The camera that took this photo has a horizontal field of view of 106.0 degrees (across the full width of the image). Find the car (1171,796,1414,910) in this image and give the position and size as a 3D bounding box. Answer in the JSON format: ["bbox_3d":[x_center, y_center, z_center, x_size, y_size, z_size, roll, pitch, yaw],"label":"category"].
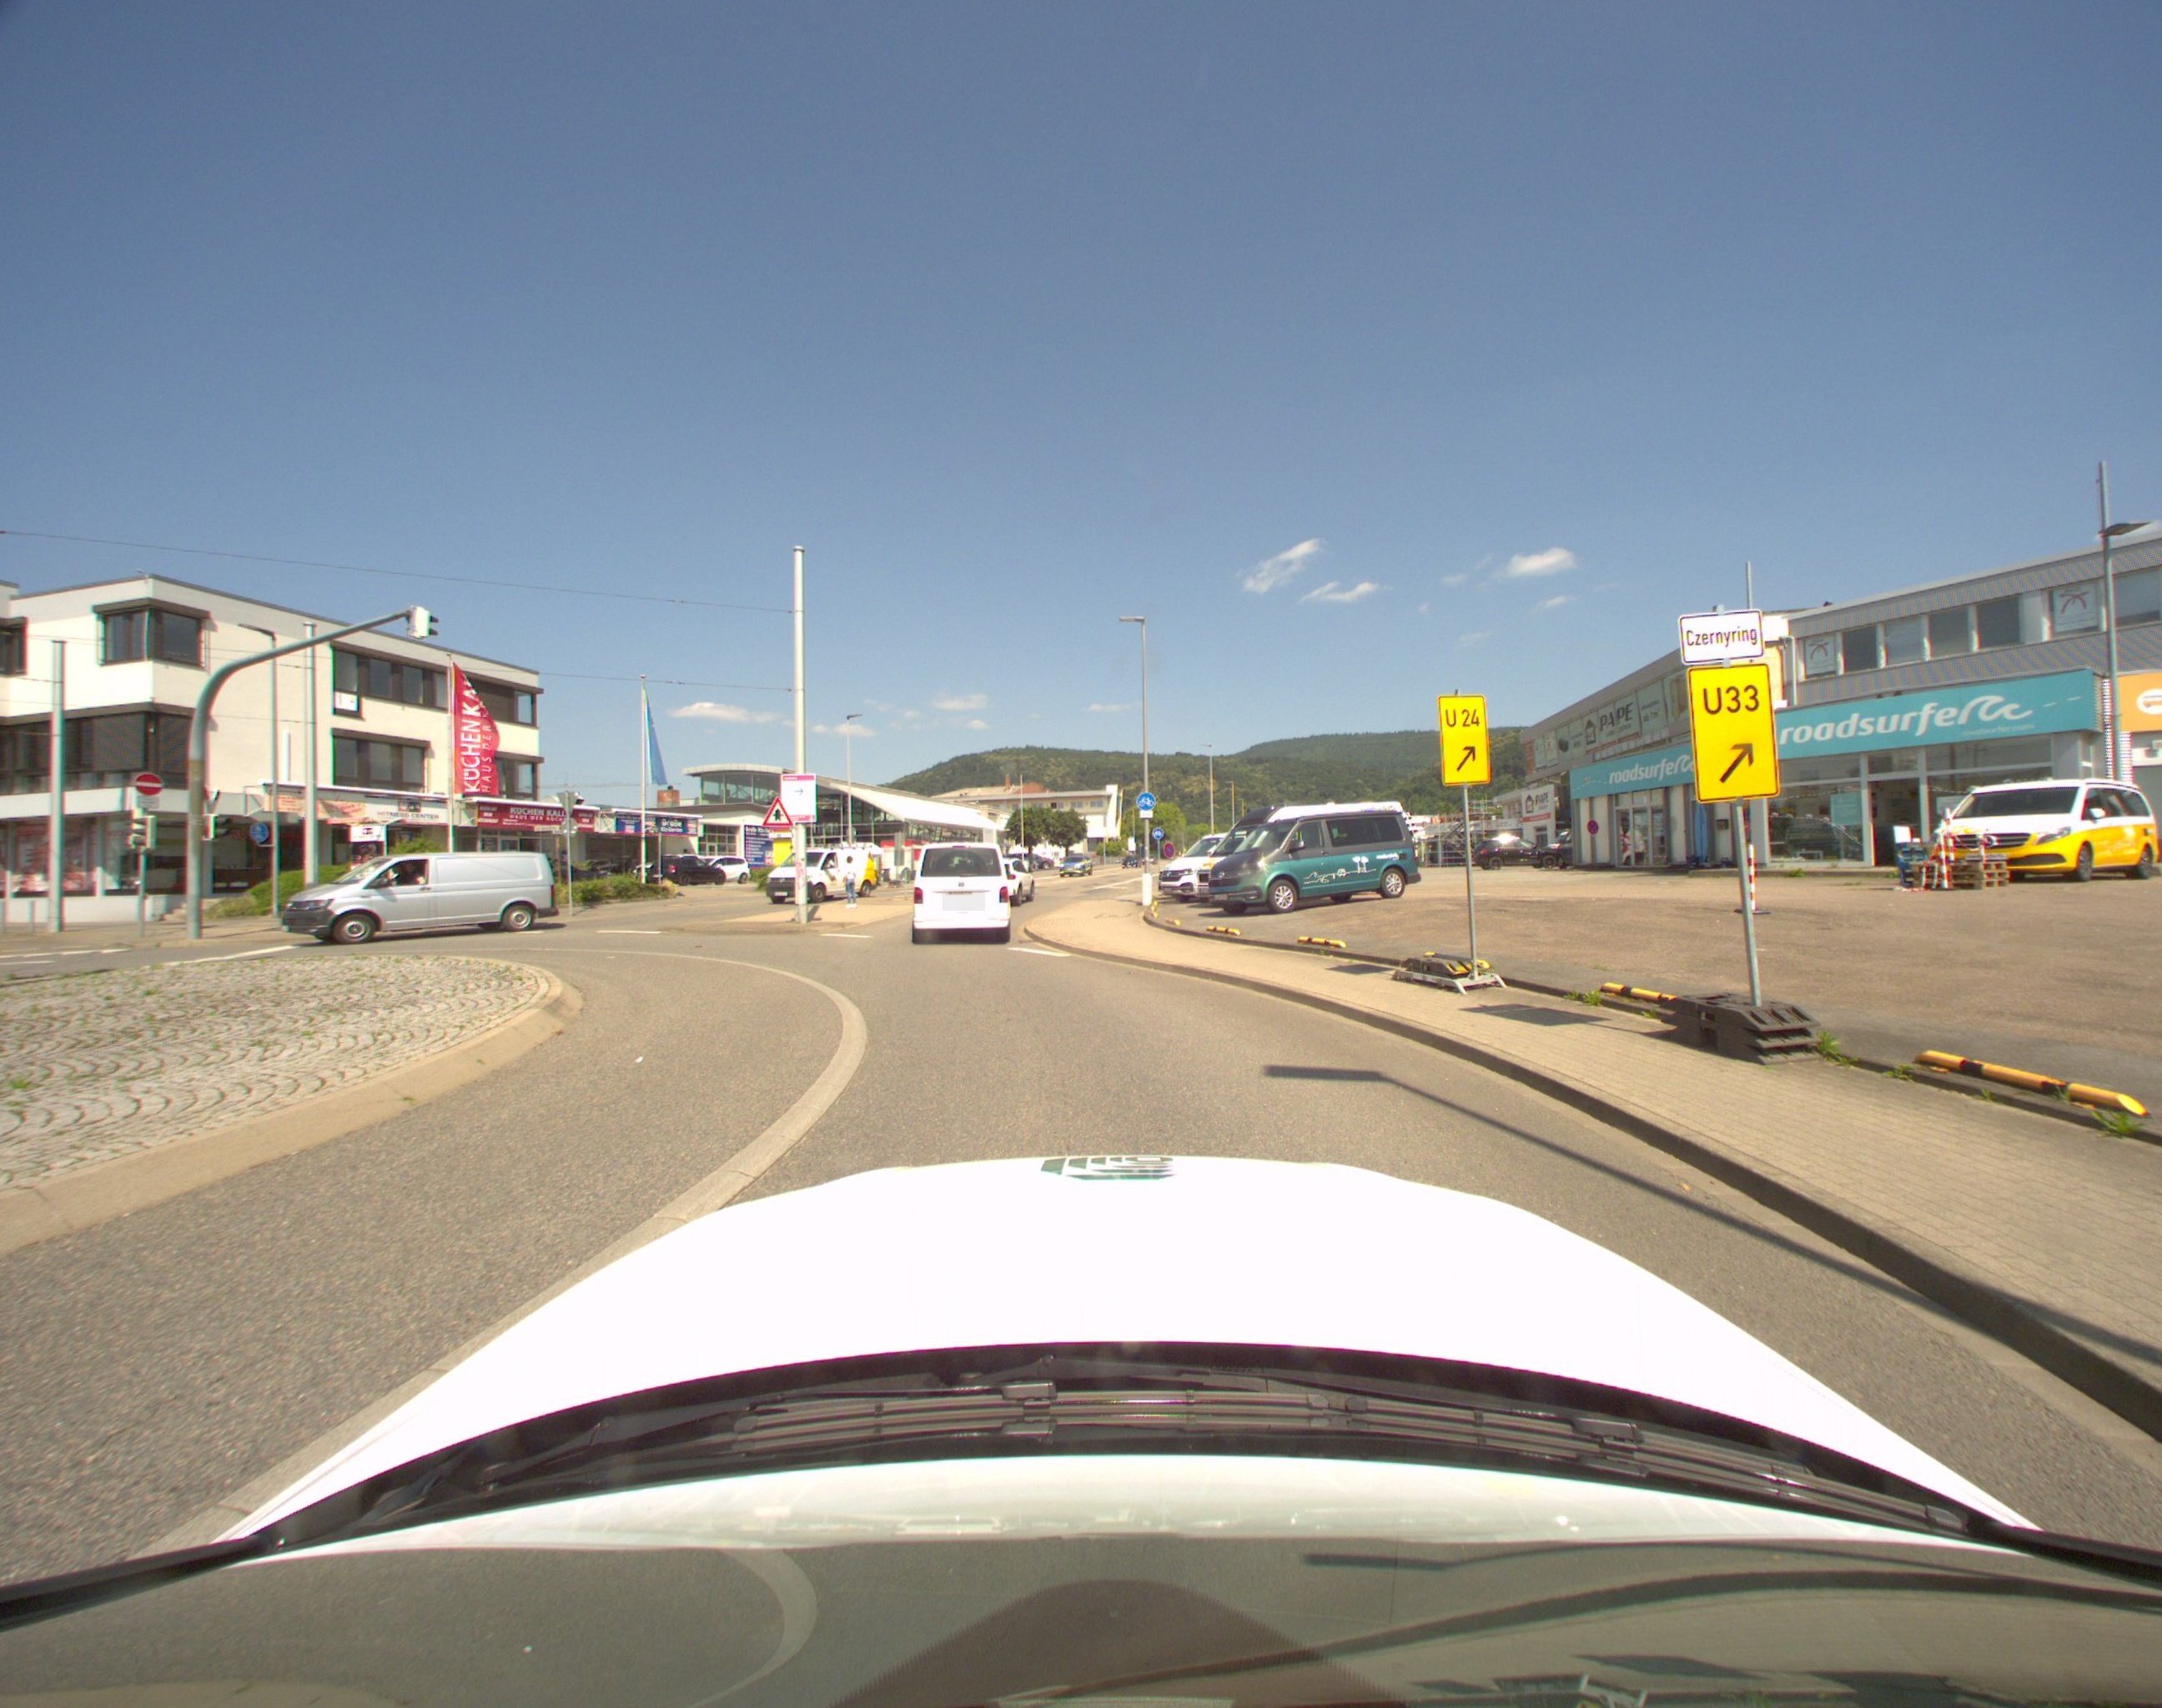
[{"bbox_3d":[5.672,-0.093,21.735,6.164,2.717,2.289,-2,0,-24],"label":"car"}]

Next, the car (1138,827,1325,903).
[{"bbox_3d":[4.487,0.304,24.298,5.162,2.000,2.010,-2,-1,-21],"label":"car"}]

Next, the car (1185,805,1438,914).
[{"bbox_3d":[5.085,0.055,17.862,5.236,2.113,2.080,-1,0,-25],"label":"car"}]

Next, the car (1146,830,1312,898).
[{"bbox_3d":[4.948,0.309,27.361,5.146,2.013,1.919,-2,0,-17],"label":"car"}]

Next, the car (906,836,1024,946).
[{"bbox_3d":[-2.439,0.712,17.563,2.160,2.014,5.005,0,-1,-7],"label":"car"}]

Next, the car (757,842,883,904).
[{"bbox_3d":[-9.548,0.625,30.307,2.006,2.114,4.956,-1,0,16],"label":"car"}]

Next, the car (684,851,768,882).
[{"bbox_3d":[-20.551,0.694,47.392,1.868,1.588,4.944,-3,-1,12],"label":"car"}]

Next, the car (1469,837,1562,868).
[{"bbox_3d":[22.857,-0.086,42.959,3.959,1.518,1.898,-2,0,13],"label":"car"}]

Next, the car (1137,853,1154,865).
[{"bbox_3d":[8.681,0.657,109.560,1.829,1.464,4.013,-2,0,11],"label":"car"}]

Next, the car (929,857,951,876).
[{"bbox_3d":[-12.444,1.079,72.190,1.744,1.585,3.652,-1,0,-7],"label":"car"}]

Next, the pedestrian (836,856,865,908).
[{"bbox_3d":[-7.464,0.904,26.411,0.763,1.656,0.666,-1,-1,-29],"label":"pedestrian"}]

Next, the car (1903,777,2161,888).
[{"bbox_3d":[18.570,-0.408,15.814,5.112,1.877,2.080,-2,-1,-26],"label":"car"}]

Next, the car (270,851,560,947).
[{"bbox_3d":[-15.200,0.909,18.908,1.908,1.935,4.860,-1,-1,33],"label":"car"}]

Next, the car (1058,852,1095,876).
[{"bbox_3d":[-0.324,0.754,63.012,1.896,1.760,4.466,-2,0,12],"label":"car"}]

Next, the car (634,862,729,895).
[{"bbox_3d":[-19.954,1.193,40.891,2.013,1.427,4.331,-2,0,12],"label":"car"}]

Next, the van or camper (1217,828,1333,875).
[{"bbox_3d":[11.450,-0.111,48.199,6.457,2.561,2.986,-1,0,14],"label":"van or camper"}]

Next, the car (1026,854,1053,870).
[{"bbox_3d":[-4.397,0.862,85.417,1.751,1.585,3.636,-1,0,-20],"label":"car"}]

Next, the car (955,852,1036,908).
[{"bbox_3d":[-2.888,0.828,28.500,1.983,1.707,4.007,1,1,6],"label":"car"}]

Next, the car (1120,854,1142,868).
[{"bbox_3d":[5.588,0.730,90.116,1.829,1.464,4.014,-2,0,12],"label":"car"}]
